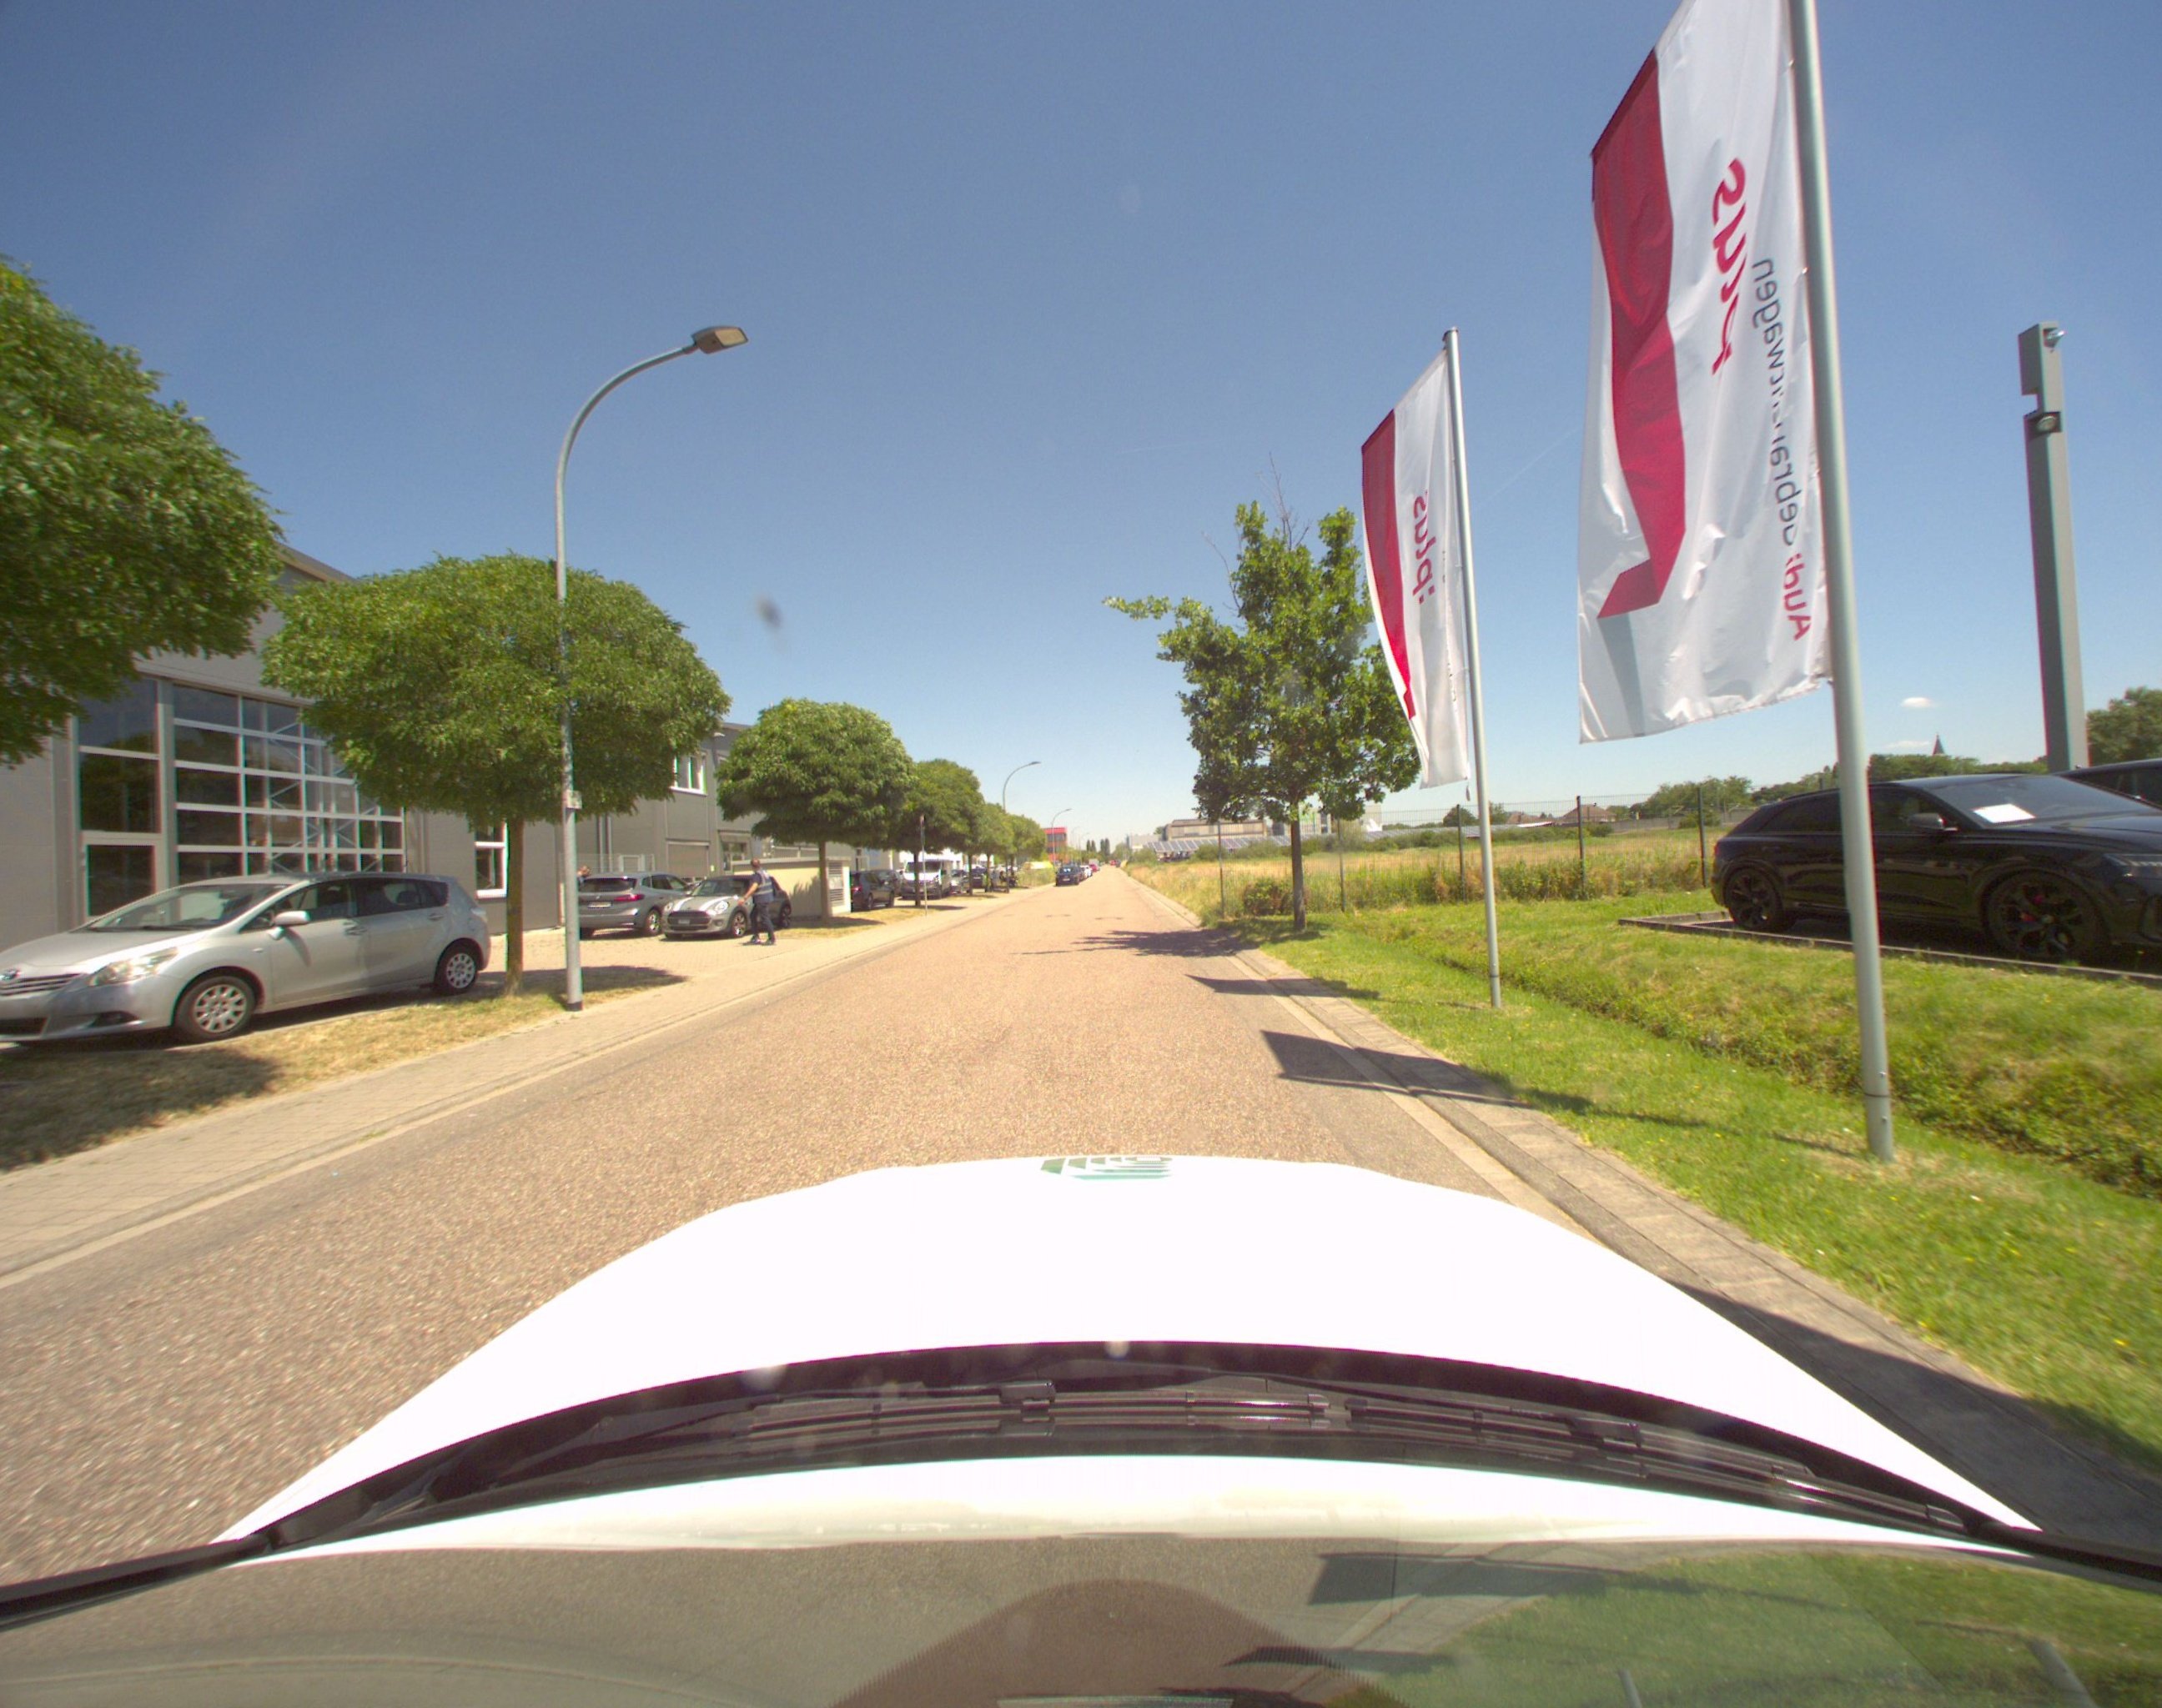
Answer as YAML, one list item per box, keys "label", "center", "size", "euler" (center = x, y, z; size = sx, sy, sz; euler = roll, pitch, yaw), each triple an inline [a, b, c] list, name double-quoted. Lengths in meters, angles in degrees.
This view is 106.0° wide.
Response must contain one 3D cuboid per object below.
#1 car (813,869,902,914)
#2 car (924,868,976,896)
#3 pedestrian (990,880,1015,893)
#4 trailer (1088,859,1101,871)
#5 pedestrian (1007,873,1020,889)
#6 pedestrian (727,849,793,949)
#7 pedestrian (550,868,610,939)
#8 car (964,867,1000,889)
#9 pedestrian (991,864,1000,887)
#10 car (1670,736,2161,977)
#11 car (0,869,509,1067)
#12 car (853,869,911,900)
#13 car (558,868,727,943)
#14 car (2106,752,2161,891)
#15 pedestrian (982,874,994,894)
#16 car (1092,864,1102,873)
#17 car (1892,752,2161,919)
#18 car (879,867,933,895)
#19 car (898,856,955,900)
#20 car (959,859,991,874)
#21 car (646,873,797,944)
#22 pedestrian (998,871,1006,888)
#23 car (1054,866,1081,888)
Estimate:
- label: "car"
  center: [-8.112, 1.320, 30.034]
  size: [1.759, 1.453, 4.716]
  euler: [-2, -1, 2]
- label: "car"
  center: [-7.415, 1.598, 46.591]
  size: [1.919, 1.441, 4.844]
  euler: [-3, -2, 3]
- label: "pedestrian"
  center: [-4.651, 1.937, 48.293]
  size: [1.352, 0.749, 0.754]
  euler: [0, -1, 4]
- label: "trailer"
  center: [2.643, 2.155, 159.071]
  size: [2.192, 2.137, 4.287]
  euler: [-3, -1, 2]
- label: "pedestrian"
  center: [-4.766, 1.890, 57.502]
  size: [0.747, 1.099, 0.647]
  euler: [0, -1, 6]
- label: "pedestrian"
  center: [-6.613, 0.905, 16.804]
  size: [0.832, 1.972, 0.971]
  euler: [-2, -1, 42]
- label: "pedestrian"
  center: [-12.444, 1.207, 20.256]
  size: [0.837, 1.713, 0.965]
  euler: [-1, -1, 1]
- label: "car"
  center: [-7.122, 1.703, 58.965]
  size: [1.920, 1.465, 4.692]
  euler: [0, -1, 1]
- label: "pedestrian"
  center: [-6.034, 1.517, 57.247]
  size: [0.503, 1.595, 0.754]
  euler: [0, -1, 4]
- label: "car"
  center: [8.720, -0.042, 8.181]
  size: [2.016, 1.692, 5.113]
  euler: [-4, -1, 3]
- label: "car"
  center: [-8.921, 1.002, 9.052]
  size: [1.758, 1.573, 4.542]
  euler: [-1, -1, 3]
- label: "car"
  center: [-10.161, 1.538, 41.860]
  size: [1.920, 1.440, 4.087]
  euler: [0, -1, 0]
- label: "car"
  center: [-10.884, 1.200, 20.629]
  size: [1.728, 1.628, 4.351]
  euler: [-1, -1, 3]
- label: "car"
  center: [14.315, -0.491, 8.178]
  size: [2.016, 1.725, 4.813]
  euler: [-4, -1, 3]
- label: "pedestrian"
  center: [-5.374, 1.743, 47.111]
  size: [0.475, 1.150, 0.557]
  euler: [0, -3, 12]
- label: "car"
  center: [2.914, 2.556, 147.683]
  size: [1.780, 1.520, 3.984]
  euler: [-3, -1, 2]
- label: "car"
  center: [11.425, -0.251, 8.099]
  size: [2.016, 1.610, 4.813]
  euler: [-4, -1, 3]
- label: "car"
  center: [-9.995, 1.497, 46.738]
  size: [1.919, 1.465, 4.468]
  euler: [0, -1, 3]
- label: "car"
  center: [-7.680, 1.144, 40.893]
  size: [1.831, 2.019, 5.124]
  euler: [-2, -1, 0]
- label: "car"
  center: [-16.340, 1.935, 126.166]
  size: [4.511, 1.943, 2.032]
  euler: [-3, -1, 2]
- label: "car"
  center: [-8.546, 1.231, 19.729]
  size: [1.758, 1.453, 3.843]
  euler: [-1, -1, 3]
- label: "pedestrian"
  center: [-5.700, 1.834, 58.711]
  size: [0.503, 1.191, 0.754]
  euler: [0, -1, 4]
- label: "car"
  center: [-1.030, 1.812, 65.084]
  size: [1.920, 1.567, 4.190]
  euler: [-3, -1, 1]
